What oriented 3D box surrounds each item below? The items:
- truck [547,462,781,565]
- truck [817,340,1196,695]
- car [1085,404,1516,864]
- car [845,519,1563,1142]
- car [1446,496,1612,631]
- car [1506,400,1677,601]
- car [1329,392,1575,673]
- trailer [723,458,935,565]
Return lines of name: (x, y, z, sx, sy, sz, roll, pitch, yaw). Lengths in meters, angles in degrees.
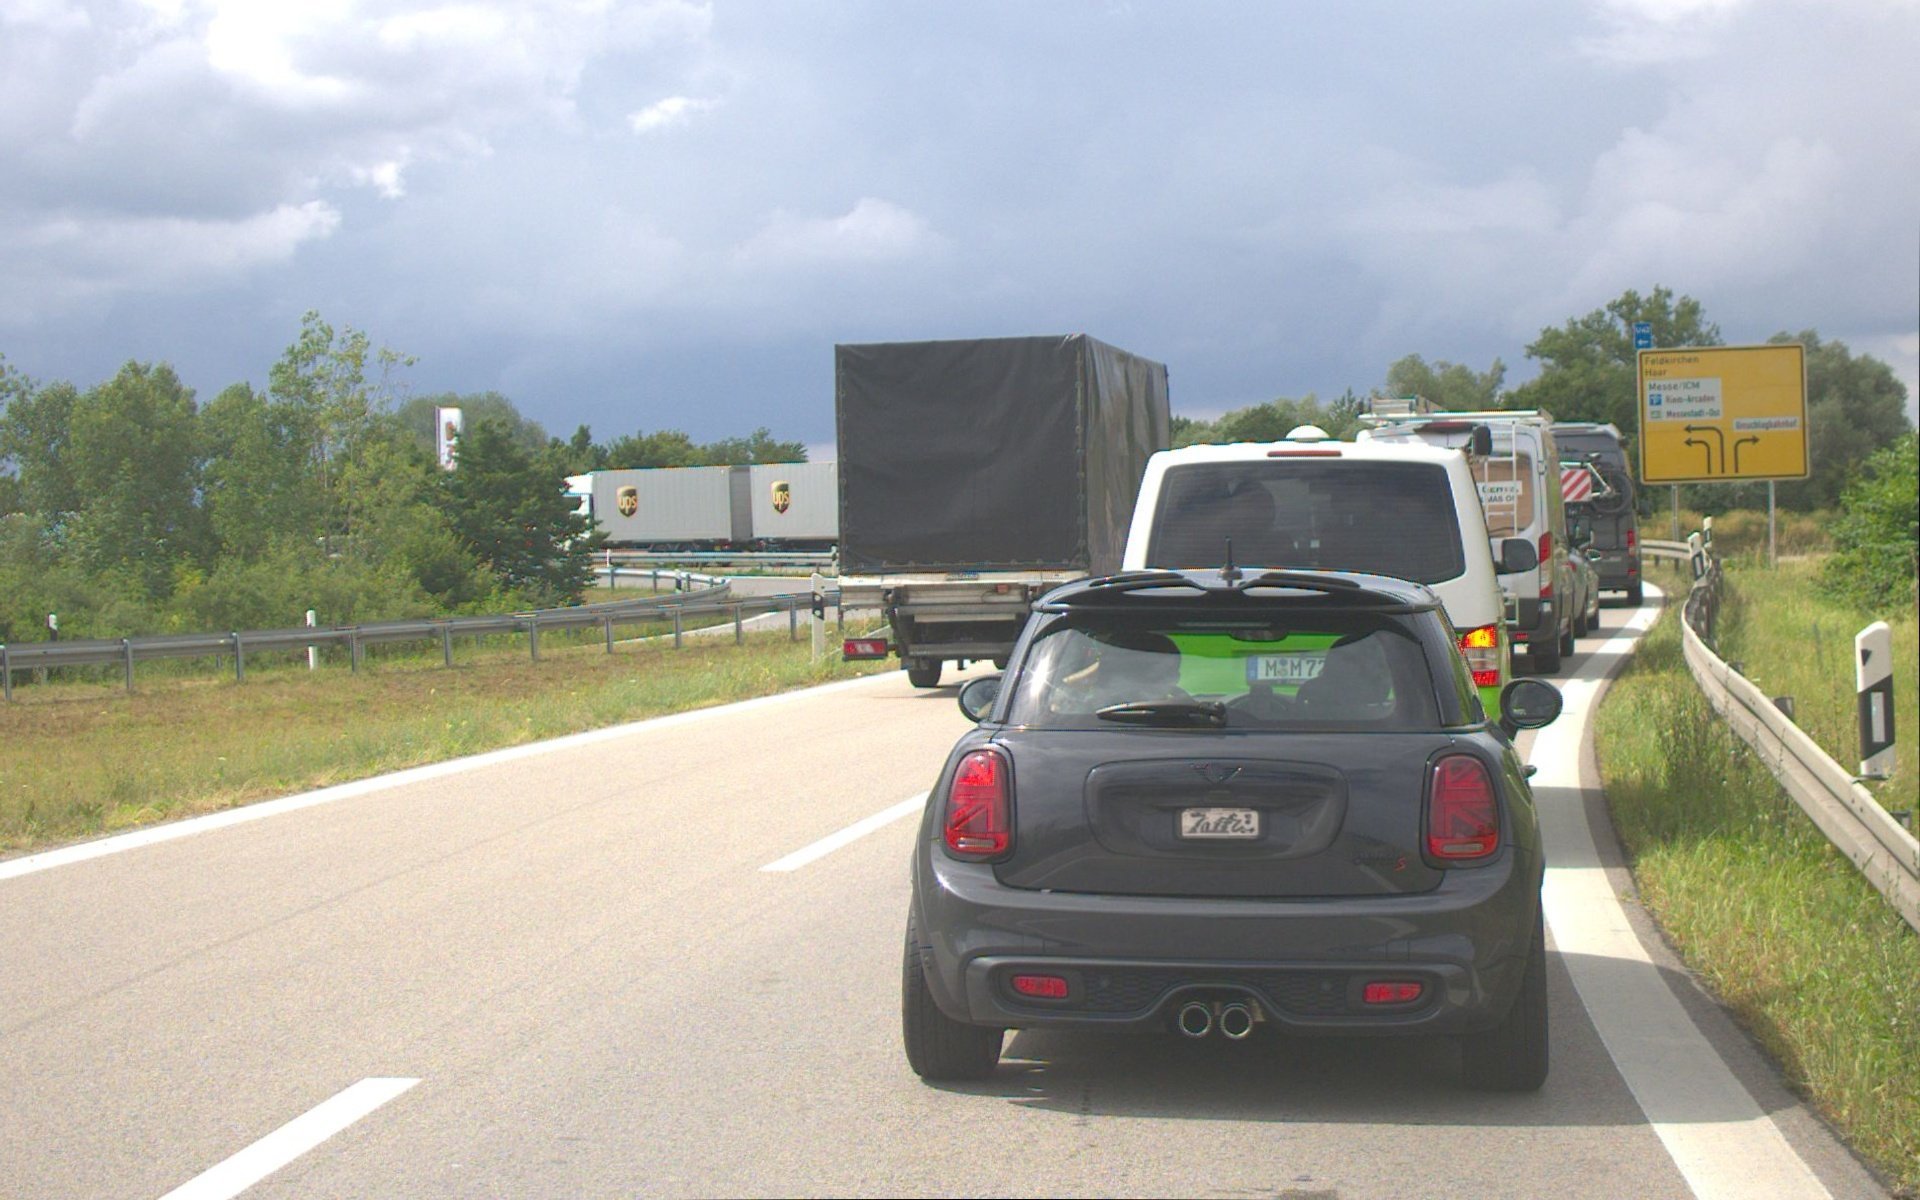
truck: (-11.884, -3.429, 137.116, 10.019, 3.962, 2.839, 1, 0, 38)
truck: (0.655, -0.763, 34.493, 2.561, 3.157, 7.465, 1, 0, 10)
car: (1.834, 0.124, 17.432, 1.912, 2.038, 4.179, 0, 1, 9)
car: (0.872, 0.538, 10.503, 1.800, 1.541, 3.737, 0, 1, 8)
car: (7.354, -0.461, 44.227, 1.994, 1.636, 3.927, 1, 0, 11)
car: (10.337, -1.543, 55.872, 2.312, 3.058, 6.658, 1, 0, 14)
car: (5.103, -0.652, 35.006, 2.213, 2.613, 5.532, 1, 0, 11)
trailer: (-5.036, -3.330, 130.812, 3.037, 3.884, 8.768, 1, 0, -43)
